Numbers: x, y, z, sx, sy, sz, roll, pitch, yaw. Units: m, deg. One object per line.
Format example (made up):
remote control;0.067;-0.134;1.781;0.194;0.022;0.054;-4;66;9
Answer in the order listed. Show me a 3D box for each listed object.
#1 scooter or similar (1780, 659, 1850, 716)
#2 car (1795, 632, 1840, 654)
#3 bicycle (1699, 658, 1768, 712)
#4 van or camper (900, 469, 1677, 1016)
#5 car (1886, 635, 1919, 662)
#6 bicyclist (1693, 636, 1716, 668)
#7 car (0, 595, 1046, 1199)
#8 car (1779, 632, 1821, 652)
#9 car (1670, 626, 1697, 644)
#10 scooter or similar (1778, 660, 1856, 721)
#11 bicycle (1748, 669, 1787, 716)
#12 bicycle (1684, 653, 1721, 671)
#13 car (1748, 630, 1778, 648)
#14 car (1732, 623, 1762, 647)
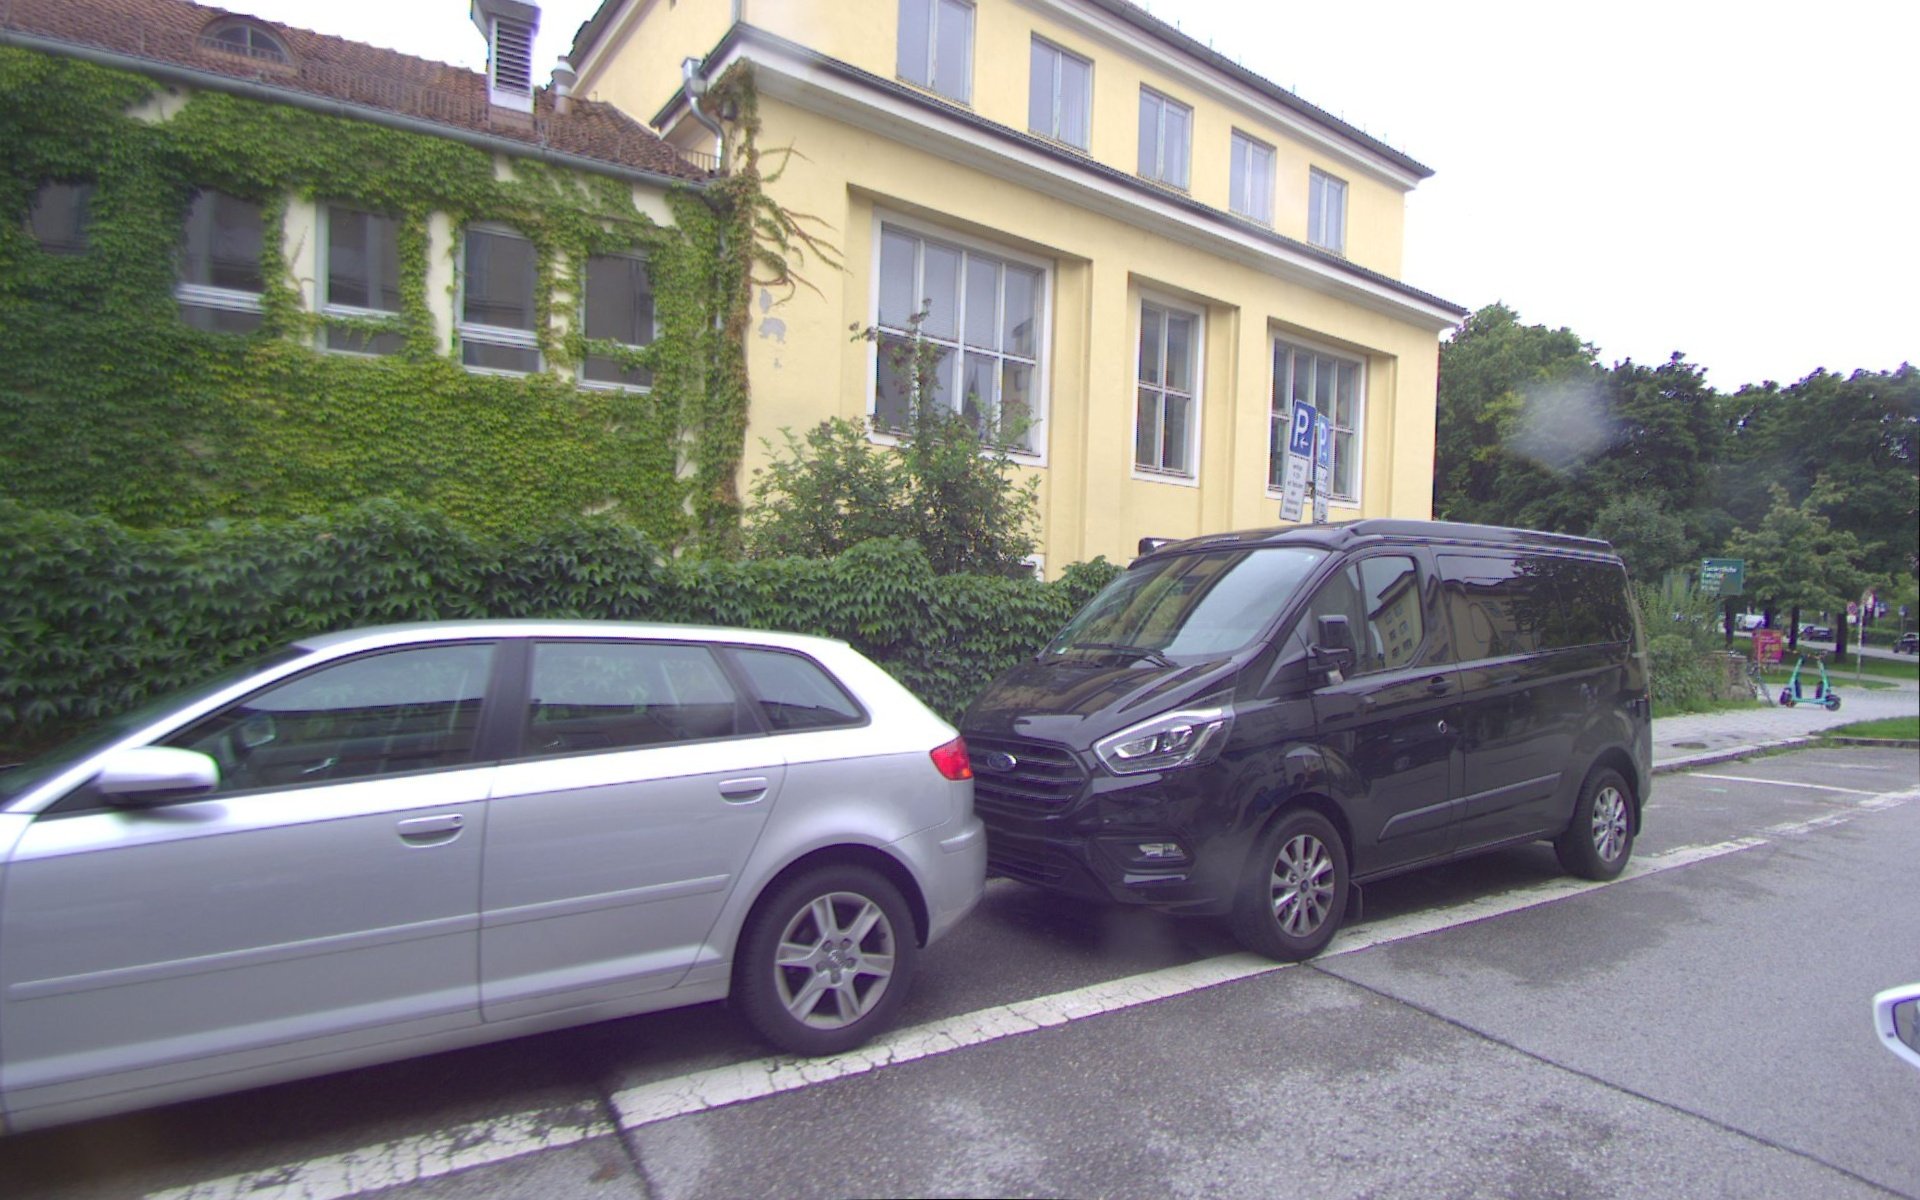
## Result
scooter or similar;19.143;1.947;22.489;1.158;1.236;0.447;1;-2;3
car;75.892;3.783;88.970;2.144;1.679;4.498;2;0;29
bicycle;18.415;2.010;23.947;0.641;1.149;1.502;2;0;9
van or camper;2.162;0.641;5.997;4.704;2.092;1.949;2;-2;-34
car;63.392;3.240;66.820;1.837;1.655;4.273;2;0;32
bicyclist;35.861;2.504;48.385;0.636;1.480;0.626;2;0;-23
car;-1.815;0.755;3.398;4.024;1.396;1.612;2;-4;-30
car;78.788;3.912;94.248;2.144;1.679;4.498;2;0;29
car;79.986;3.885;111.040;1.964;1.862;3.993;2;0;30
scooter or similar;18.631;1.952;21.859;0.595;1.236;1.171;2;-2;-32
bicycle;17.826;2.026;22.197;0.463;0.935;1.202;2;0;30
bicycle;35.753;2.990;48.383;0.434;0.786;1.353;2;0;-23
car;85.641;4.137;107.179;1.848;1.840;3.993;2;0;30
car;90.286;3.961;115.271;1.848;2.602;4.923;2;0;29
